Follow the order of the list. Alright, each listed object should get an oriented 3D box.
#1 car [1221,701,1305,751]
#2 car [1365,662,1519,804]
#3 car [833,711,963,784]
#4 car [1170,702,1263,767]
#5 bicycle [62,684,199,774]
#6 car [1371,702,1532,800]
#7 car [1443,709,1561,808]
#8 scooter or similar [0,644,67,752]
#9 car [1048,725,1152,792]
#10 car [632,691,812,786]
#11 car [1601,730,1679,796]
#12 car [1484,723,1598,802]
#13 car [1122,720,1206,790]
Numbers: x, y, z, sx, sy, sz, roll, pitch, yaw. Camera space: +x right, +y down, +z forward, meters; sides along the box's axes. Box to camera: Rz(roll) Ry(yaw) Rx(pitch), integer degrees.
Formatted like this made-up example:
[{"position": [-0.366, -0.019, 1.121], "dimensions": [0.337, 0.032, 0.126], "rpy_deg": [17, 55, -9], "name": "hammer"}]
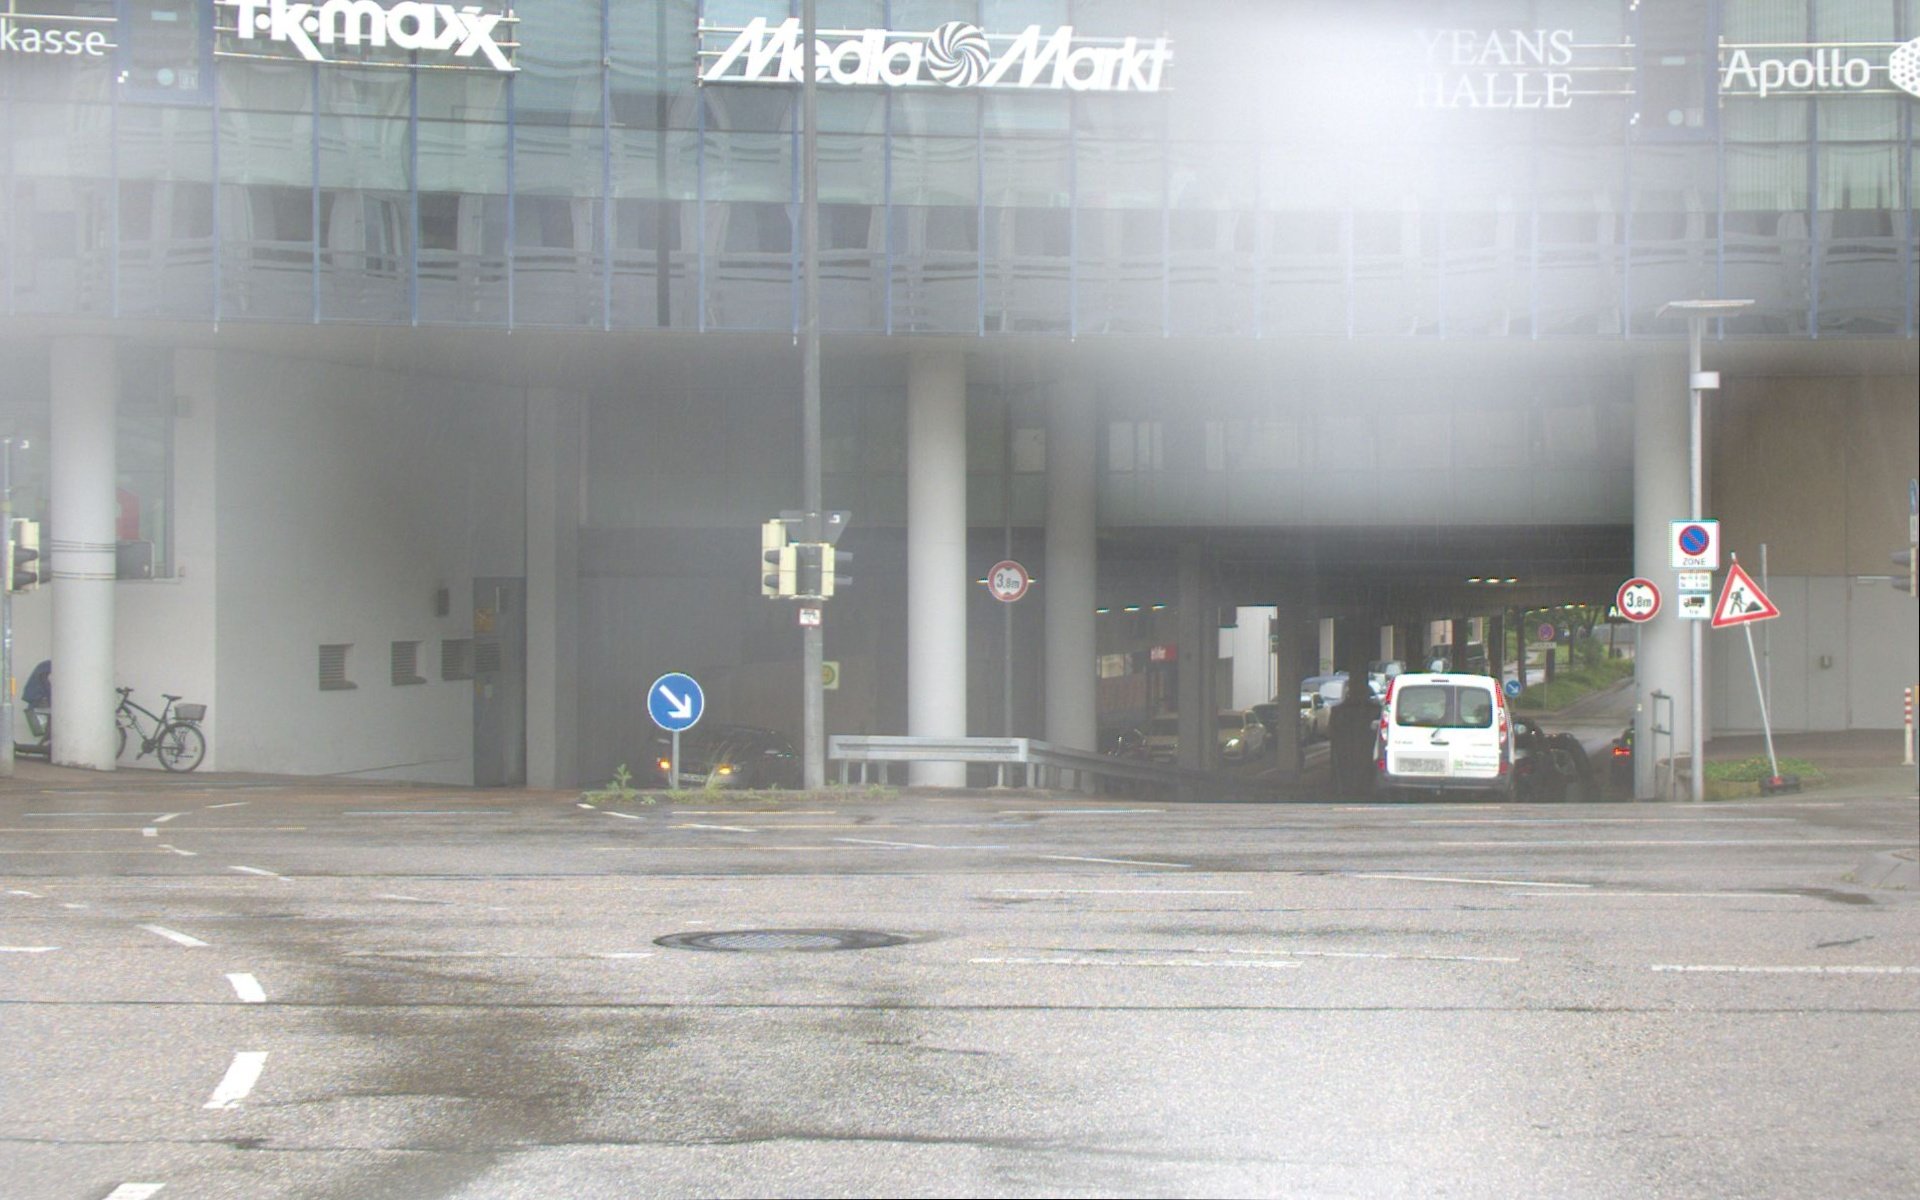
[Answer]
[{"position": [9.418, 3.898, 106.673], "dimensions": [1.995, 1.459, 3.997], "rpy_deg": [-1, -1, 14], "name": "car"}, {"position": [6.407, 1.727, 45.538], "dimensions": [1.926, 1.791, 4.294], "rpy_deg": [0, -1, 9], "name": "car"}, {"position": [-1.242, 3.047, 71.119], "dimensions": [1.771, 1.459, 3.873], "rpy_deg": [-1, -2, 14], "name": "car"}, {"position": [7.393, 3.851, 98.853], "dimensions": [1.995, 1.658, 3.997], "rpy_deg": [2, 0, 14], "name": "car"}, {"position": [-10.831, 1.690, 44.914], "dimensions": [1.581, 1.014, 0.452], "rpy_deg": [7, -3, -32], "name": "bicycle"}, {"position": [7.668, 2.372, 53.370], "dimensions": [1.759, 1.459, 3.938], "rpy_deg": [-1, -3, 19], "name": "car"}, {"position": [9.196, 2.685, 58.090], "dimensions": [1.634, 1.606, 4.259], "rpy_deg": [-1, -3, 13], "name": "car"}, {"position": [-12.204, 1.271, 44.564], "dimensions": [1.166, 1.368, 0.489], "rpy_deg": [2, 0, -17], "name": "scooter or similar"}, {"position": [3.616, 4.046, 88.124], "dimensions": [1.916, 1.582, 3.936], "rpy_deg": [-1, -1, 14], "name": "car"}, {"position": [-4.046, 2.408, 59.119], "dimensions": [1.894, 1.465, 4.023], "rpy_deg": [0, -4, 14], "name": "car"}, {"position": [17.441, 4.154, 88.149], "dimensions": [1.889, 1.486, 3.839], "rpy_deg": [1, 0, 12], "name": "car"}, {"position": [10.655, 2.957, 62.871], "dimensions": [1.780, 1.395, 3.997], "rpy_deg": [-1, -2, 14], "name": "car"}, {"position": [5.526, 4.163, 92.841], "dimensions": [1.837, 1.722, 3.998], "rpy_deg": [0, 0, 9], "name": "car"}]
